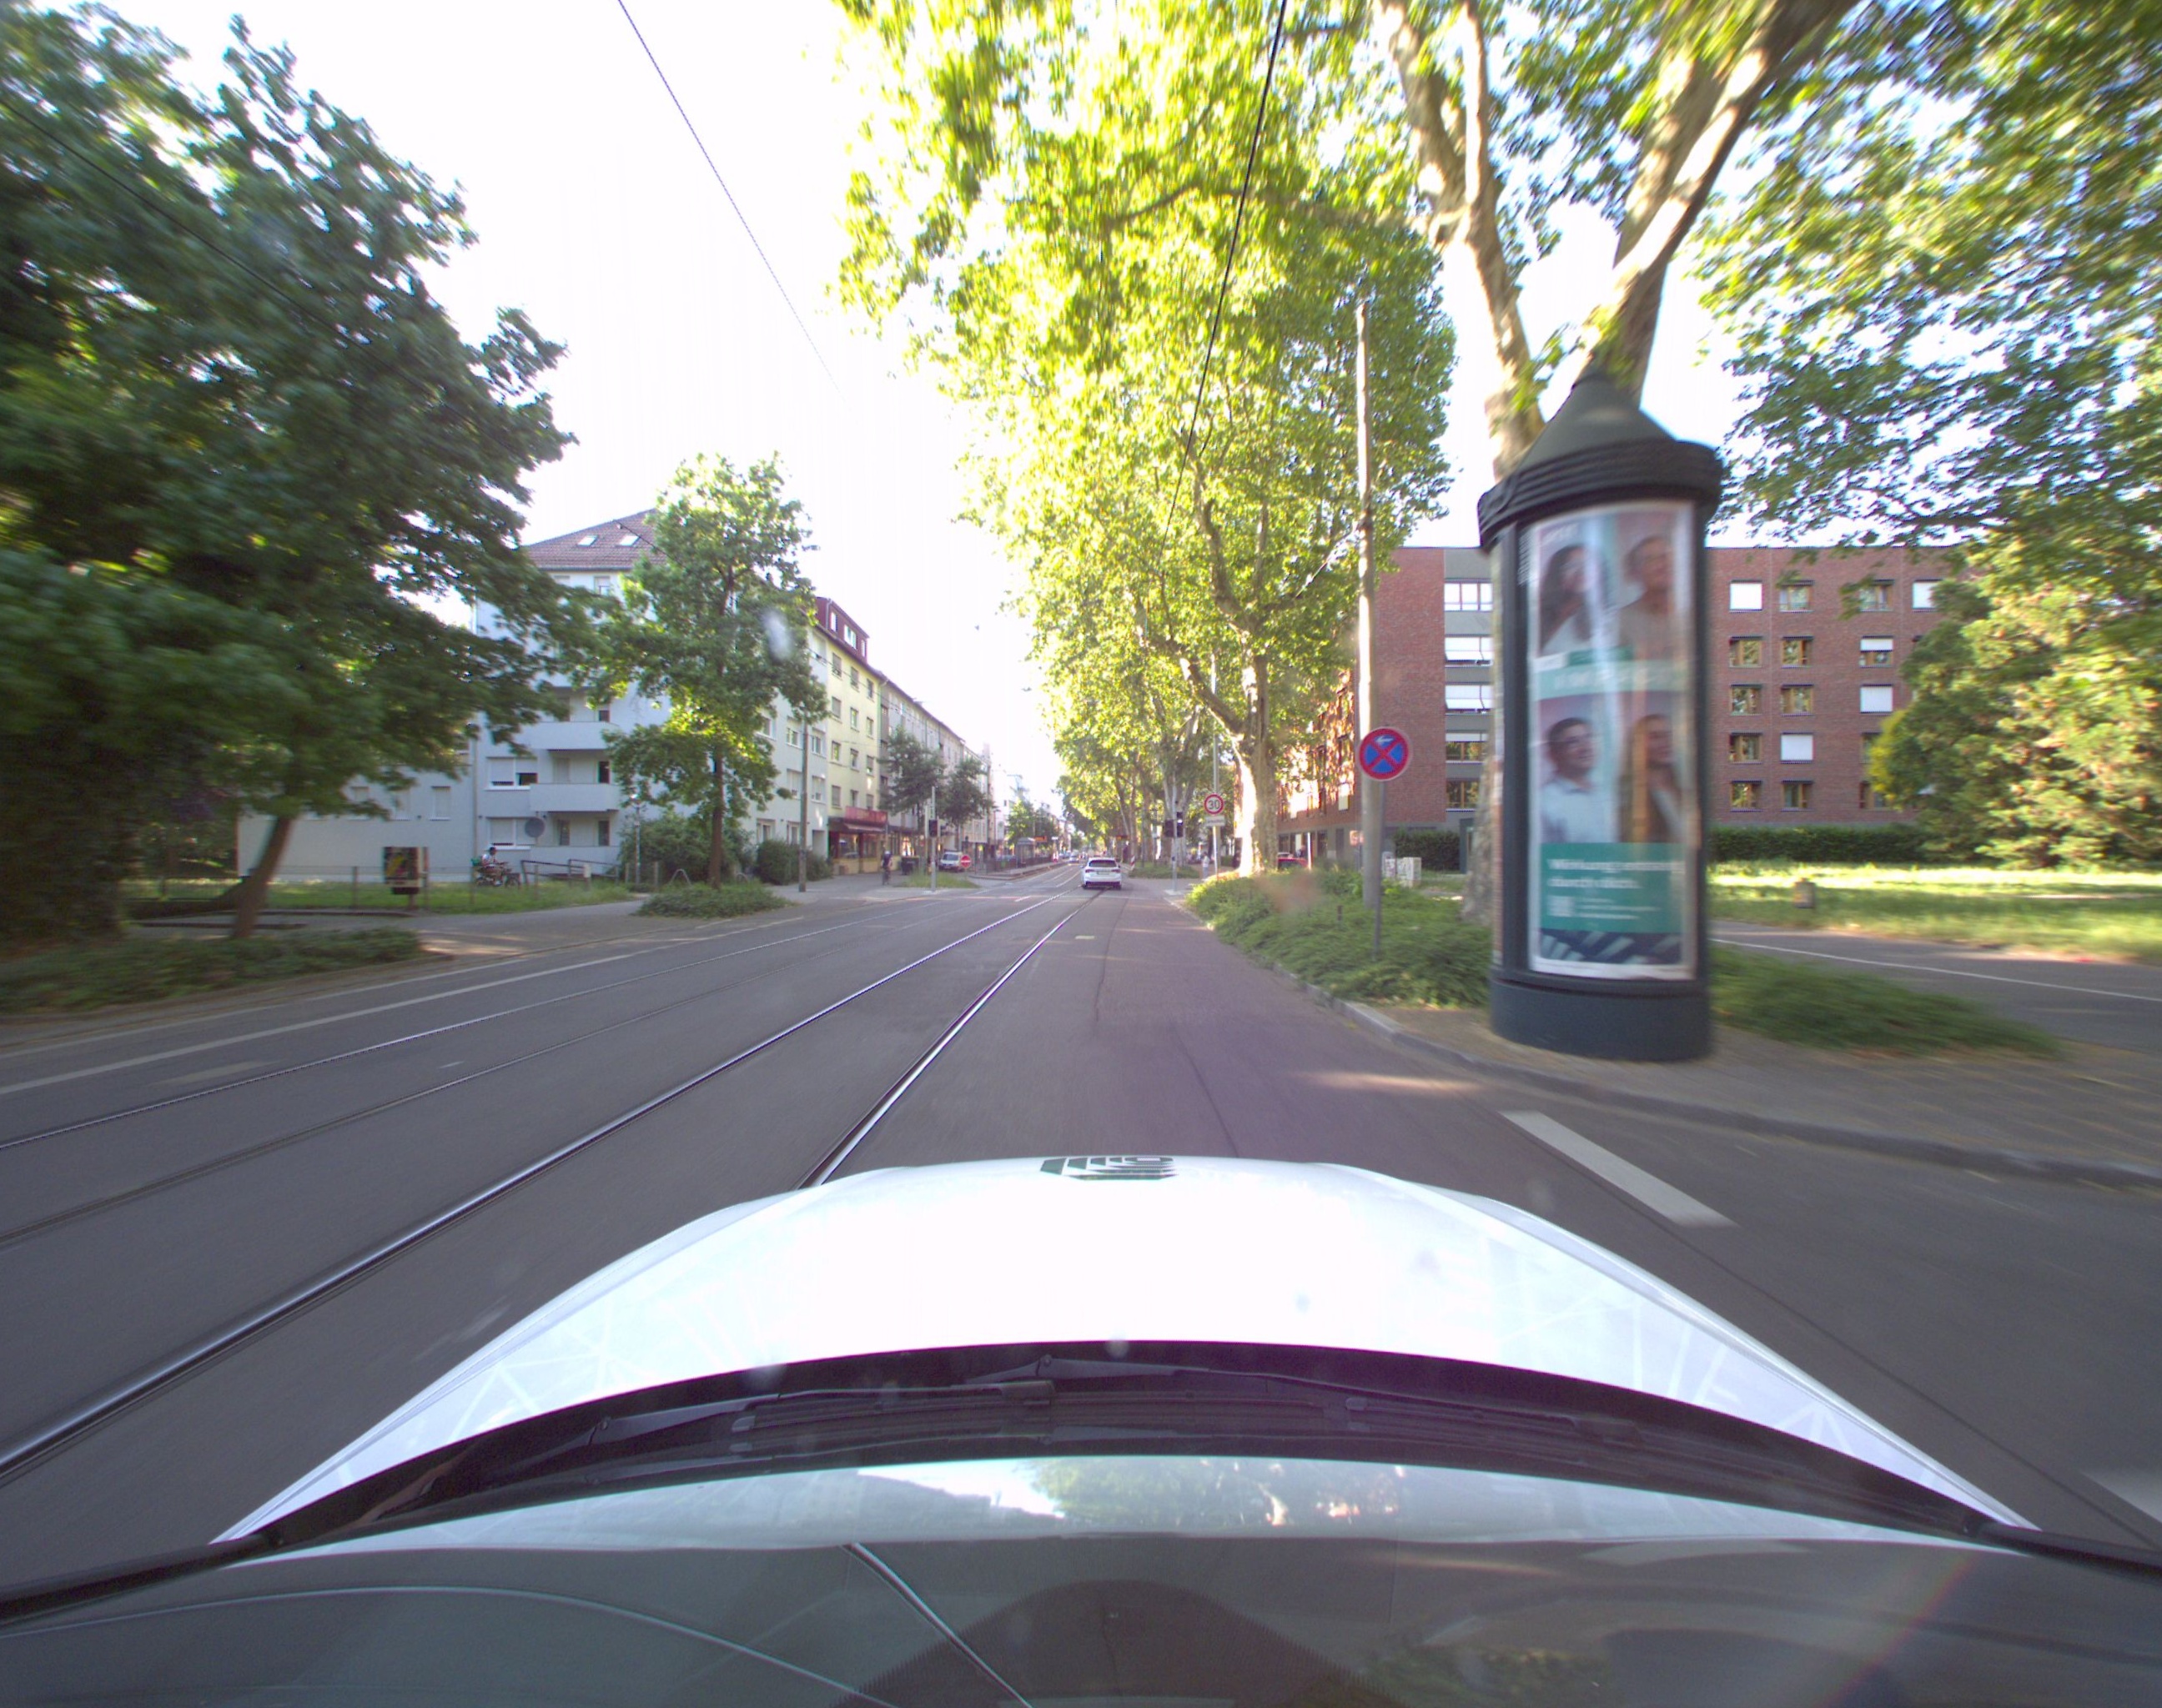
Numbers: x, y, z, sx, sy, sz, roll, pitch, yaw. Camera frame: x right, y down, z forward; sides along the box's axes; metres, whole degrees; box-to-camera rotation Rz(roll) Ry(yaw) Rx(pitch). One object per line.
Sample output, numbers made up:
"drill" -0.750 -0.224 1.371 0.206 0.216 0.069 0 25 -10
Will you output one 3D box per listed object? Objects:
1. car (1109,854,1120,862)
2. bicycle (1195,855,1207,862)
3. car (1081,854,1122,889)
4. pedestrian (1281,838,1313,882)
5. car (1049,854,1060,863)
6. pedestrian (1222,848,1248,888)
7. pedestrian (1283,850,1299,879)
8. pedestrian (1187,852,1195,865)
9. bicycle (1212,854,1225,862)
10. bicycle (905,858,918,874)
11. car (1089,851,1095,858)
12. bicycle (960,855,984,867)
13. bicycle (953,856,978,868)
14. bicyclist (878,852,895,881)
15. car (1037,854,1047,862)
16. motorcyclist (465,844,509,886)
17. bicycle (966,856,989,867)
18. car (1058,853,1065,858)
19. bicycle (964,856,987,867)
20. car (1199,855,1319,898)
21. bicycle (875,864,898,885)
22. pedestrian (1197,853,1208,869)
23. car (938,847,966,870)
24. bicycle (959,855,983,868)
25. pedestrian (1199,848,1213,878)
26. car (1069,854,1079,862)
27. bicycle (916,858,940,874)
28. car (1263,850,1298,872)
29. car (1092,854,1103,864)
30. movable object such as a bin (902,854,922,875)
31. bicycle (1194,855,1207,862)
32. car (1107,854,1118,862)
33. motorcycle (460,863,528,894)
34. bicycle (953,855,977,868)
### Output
"car" 6.153 0.720 150.758 1.986 1.453 4.001 0 0 1
"bicycle" 15.970 0.595 108.599 1.552 1.037 0.507 0 0 22
"car" 0.935 0.761 37.216 1.782 1.513 4.001 0 0 1
"pedestrian" 9.564 0.270 36.027 0.981 1.863 1.014 -4 0 -4
"car" -4.784 0.790 148.401 1.672 1.548 4.001 2 0 1
"pedestrian" 7.094 0.628 37.604 0.992 1.811 0.863 -1 0 -5
"pedestrian" 12.114 0.604 46.967 0.733 1.669 0.834 0 0 0
"pedestrian" 13.862 0.586 102.723 0.969 1.623 0.888 0 0 1
"bicycle" 18.189 0.546 107.746 1.552 1.037 0.482 0 0 22
"bicycle" -12.029 0.859 57.883 0.497 1.107 1.799 3 0 -2
"car" 3.145 0.168 236.613 1.859 1.892 4.001 0 0 1
"bicycle" -11.102 0.747 82.790 2.244 1.074 0.636 3 0 2
"bicycle" -10.994 0.763 77.344 2.244 1.074 0.636 3 0 2
"bicyclist" -9.723 0.613 40.732 0.639 1.455 0.837 -1 0 0
"car" -8.065 0.742 168.506 1.672 1.548 4.001 2 0 1
"motorcyclist" -20.915 0.371 28.698 1.100 1.449 0.595 -1 0 -10
"bicycle" -10.955 0.761 86.444 2.244 1.074 0.636 3 0 2
"car" -5.903 0.568 244.009 1.782 1.513 4.001 0 0 1
"bicycle" -10.919 0.763 84.619 2.244 1.074 0.636 3 0 2
"car" 6.062 0.756 28.040 3.868 1.423 1.650 -1 0 4
"bicycle" -9.708 1.004 40.721 0.639 0.987 2.101 -1 0 0
"pedestrian" 12.489 0.739 83.640 0.969 1.623 0.888 0 0 1
"car" -11.018 0.392 69.789 1.682 1.940 4.001 0 0 1
"bicycle" -10.985 0.745 81.042 2.244 1.074 0.636 3 0 2
"pedestrian" 7.070 0.498 45.982 0.650 1.669 0.738 0 0 0
"car" -1.275 0.700 150.876 1.688 1.419 4.001 0 0 1
"bicycle" -10.995 0.884 58.545 1.529 1.075 0.885 3 0 0
"car" 14.109 0.482 57.741 1.595 1.495 3.416 0 0 0
"car" 2.572 0.711 128.379 1.782 1.513 4.001 0 0 1
"movable object such as a bin" -11.684 0.712 56.480 1.167 1.348 0.782 3 0 -3
"bicycle" 15.785 0.594 107.685 1.552 1.037 0.482 0 0 22
"car" 6.071 0.726 155.846 1.986 1.453 4.001 0 0 1
"motorcycle" -20.698 0.858 28.733 1.871 1.032 0.595 -1 0 -11
"bicycle" -11.247 0.726 78.975 2.244 1.074 0.636 3 0 2
